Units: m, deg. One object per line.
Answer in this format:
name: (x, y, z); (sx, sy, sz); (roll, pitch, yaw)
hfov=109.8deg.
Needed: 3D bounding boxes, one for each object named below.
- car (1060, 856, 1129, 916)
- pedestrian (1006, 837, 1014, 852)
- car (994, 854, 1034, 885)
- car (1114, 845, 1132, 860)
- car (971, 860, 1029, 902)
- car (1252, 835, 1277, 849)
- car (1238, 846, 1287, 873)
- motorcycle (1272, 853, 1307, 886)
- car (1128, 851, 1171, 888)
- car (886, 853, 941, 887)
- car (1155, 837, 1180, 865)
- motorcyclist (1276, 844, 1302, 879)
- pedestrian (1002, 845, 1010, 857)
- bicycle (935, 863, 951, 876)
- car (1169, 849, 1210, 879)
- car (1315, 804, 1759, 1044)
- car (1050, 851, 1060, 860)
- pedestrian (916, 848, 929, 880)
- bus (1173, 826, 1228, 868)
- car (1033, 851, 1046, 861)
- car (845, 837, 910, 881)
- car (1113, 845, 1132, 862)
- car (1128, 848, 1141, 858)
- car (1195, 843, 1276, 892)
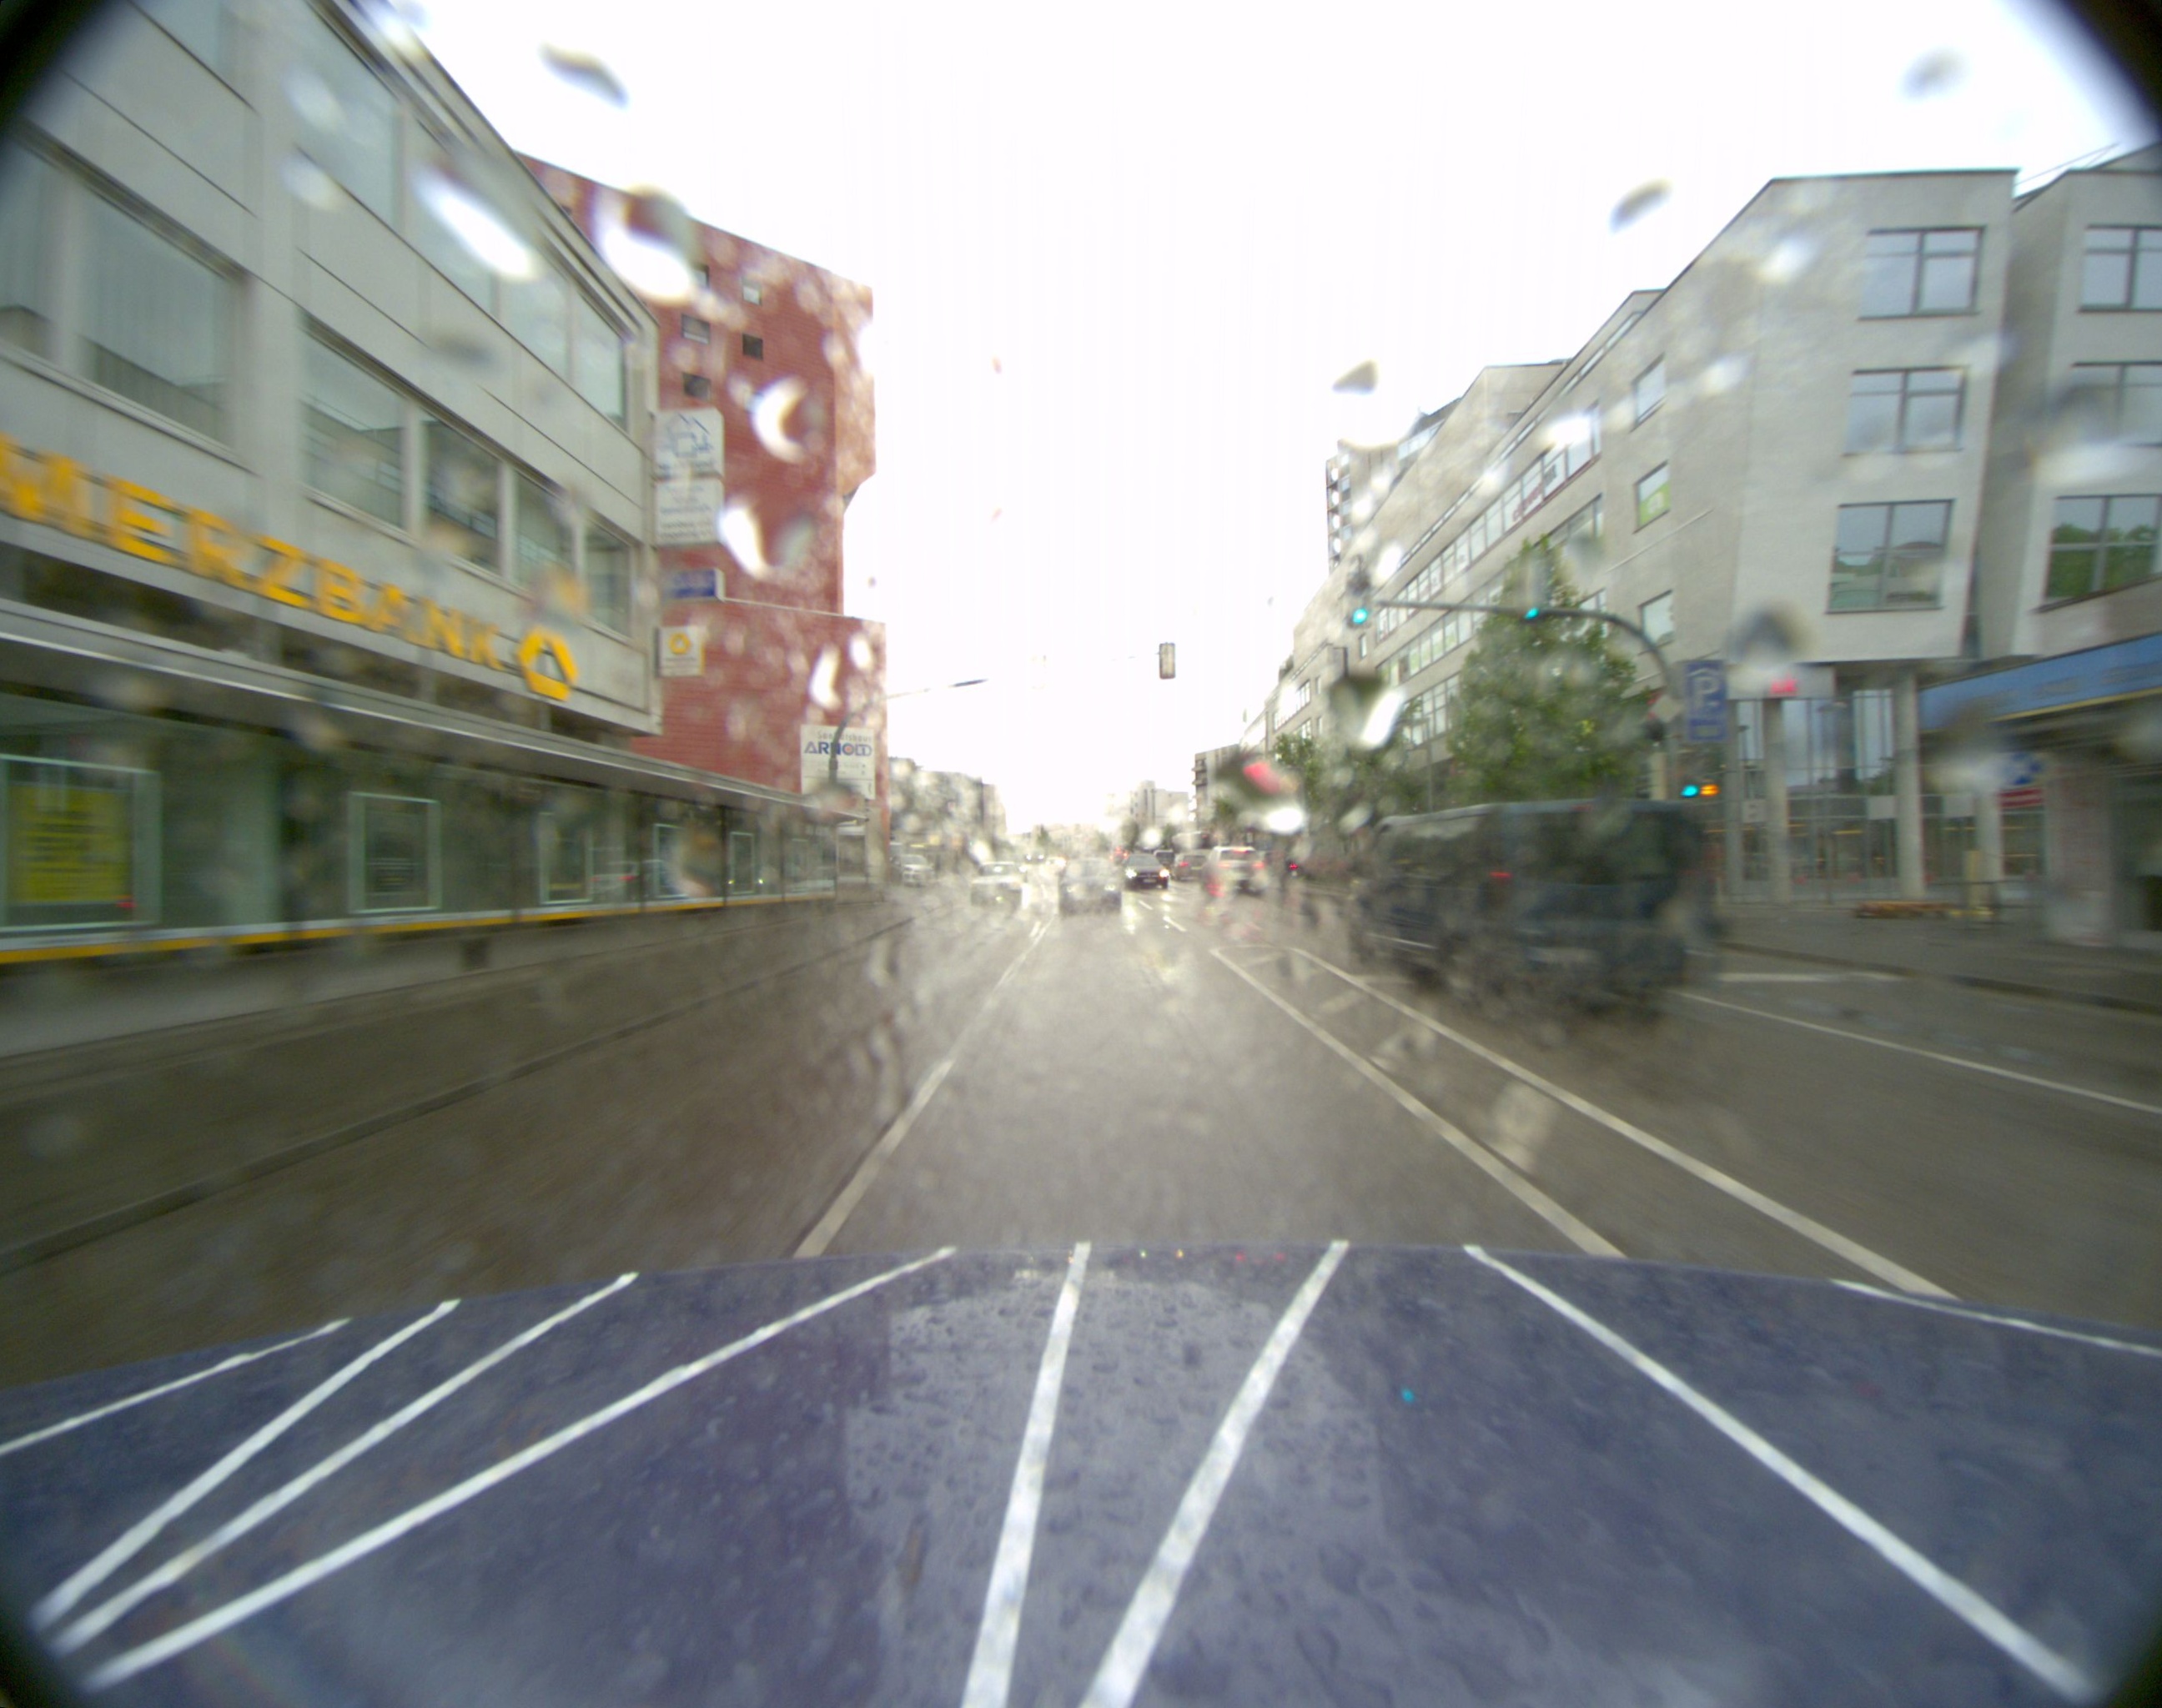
car: (0.328, 0.815, 20.984); (1.688, 1.373, 3.793); (-2, 1, 0)
pedestrian: (-8.545, -1.172, 91.356); (0.687, 1.793, 0.797); (2, 2, 7)
car: (-3.924, 0.863, 45.041); (2.058, 1.638, 4.478); (-1, 1, -2)
car: (4.276, -0.182, 78.358); (1.711, 1.508, 4.391); (-1, 1, 1)
car: (-2.831, 0.918, 27.236); (1.662, 1.300, 3.994); (-1, 1, 0)
car: (18.218, -1.207, 75.609); (1.757, 1.402, 3.730); (0, 1, 2)
car: (11.115, 0.315, 46.777); (1.999, 1.587, 3.999); (-1, 1, 0)
motorcycle: (8.603, 0.622, 31.448); (0.909, 1.276, 2.185); (0, 1, 2)
car: (2.936, 0.617, 33.035); (1.719, 1.442, 4.199); (0, 1, 4)
car: (-7.920, 0.696, 35.684); (1.618, 1.453, 3.416); (-1, 1, -28)
car: (6.424, -0.270, 56.747); (1.637, 2.002, 4.285); (0, 1, 3)
motorcyclist: (8.601, 0.296, 31.436); (0.787, 1.448, 1.140); (0, 1, 2)
pedestrian: (-8.922, -0.339, 90.136); (0.687, 1.372, 0.772); (2, 2, 7)
bicycle: (-10.870, 1.216, 59.902); (0.532, 0.932, 1.572); (1, 0, -39)
car: (5.688, 0.479, 40.205); (1.762, 1.426, 4.381); (0, 1, 3)
car: (4.485, 0.528, 8.742); (1.971, 1.927, 5.178); (-1, 1, 0)
car: (-3.891, 0.238, 114.678); (1.394, 1.316, 2.861); (-1, 1, 0)
pedestrian: (-8.810, 0.559, 42.262); (0.594, 1.756, 0.600); (-1, 0, -5)
bus: (9.648, -0.619, 62.723); (2.899, 3.081, 11.998); (-1, 1, 2)
car: (-5.329, 0.275, 98.051); (1.326, 1.178, 2.823); (0, 1, 2)
car: (-11.309, 0.343, 42.025); (2.011, 2.195, 4.864); (1, -3, -34)
car: (4.634, -0.043, 85.534); (1.867, 1.780, 3.999); (1, 1, 0)
car: (7.620, -0.112, 108.279); (1.569, 1.367, 3.282); (0, 1, 1)
car: (5.840, 0.446, 29.303); (2.104, 1.702, 4.848); (-1, 1, 0)
